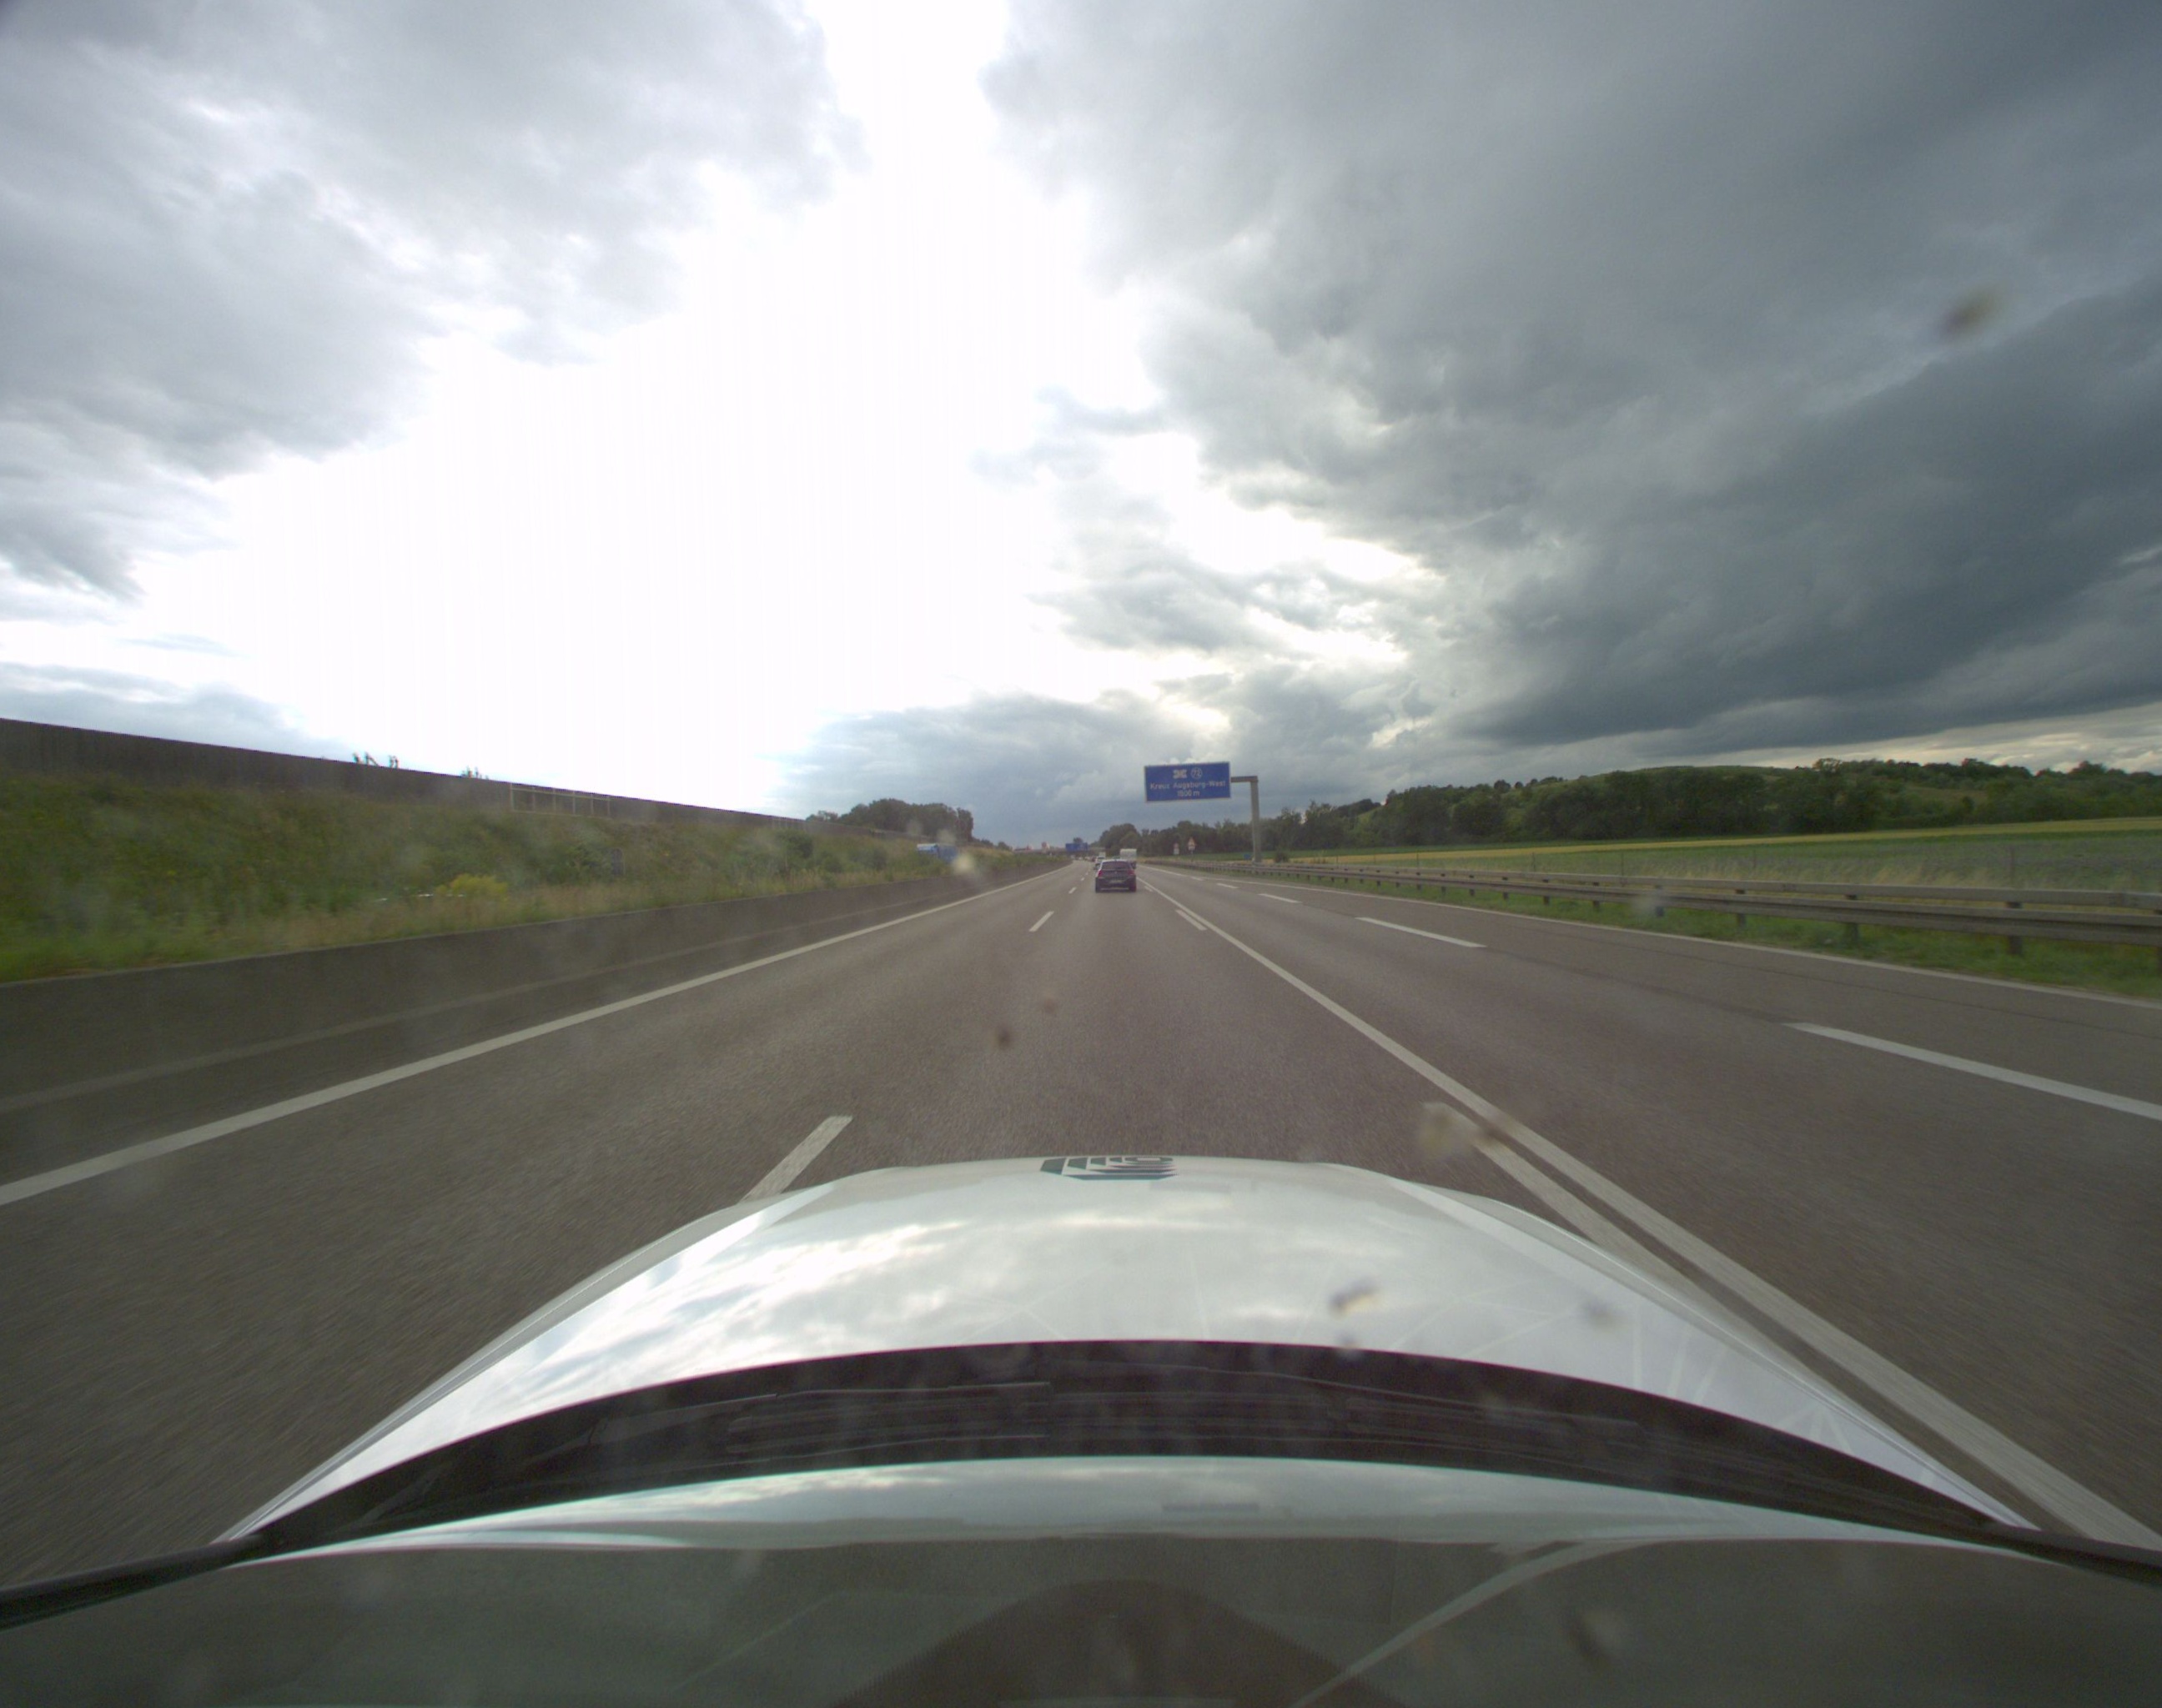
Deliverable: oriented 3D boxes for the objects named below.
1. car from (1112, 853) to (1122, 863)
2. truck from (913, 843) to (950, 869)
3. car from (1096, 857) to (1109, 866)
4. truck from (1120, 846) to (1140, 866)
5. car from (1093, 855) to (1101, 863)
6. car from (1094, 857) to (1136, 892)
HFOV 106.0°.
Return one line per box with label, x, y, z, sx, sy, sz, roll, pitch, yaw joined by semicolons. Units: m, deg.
car;7.539;0.873;171.429;1.986;2.013;4.001;-2;0;2
truck;-17.718;0.255;96.890;2.974;2.988;6.746;0;0;2
car;3.370;1.189;129.913;1.986;1.298;4.001;-3;0;1
truck;7.393;0.308;124.993;2.700;2.964;12.452;0;0;2
car;4.381;1.388;224.871;1.986;2.013;4.001;-2;0;2
car;1.484;0.877;35.831;1.736;1.389;4.002;-1;0;2
